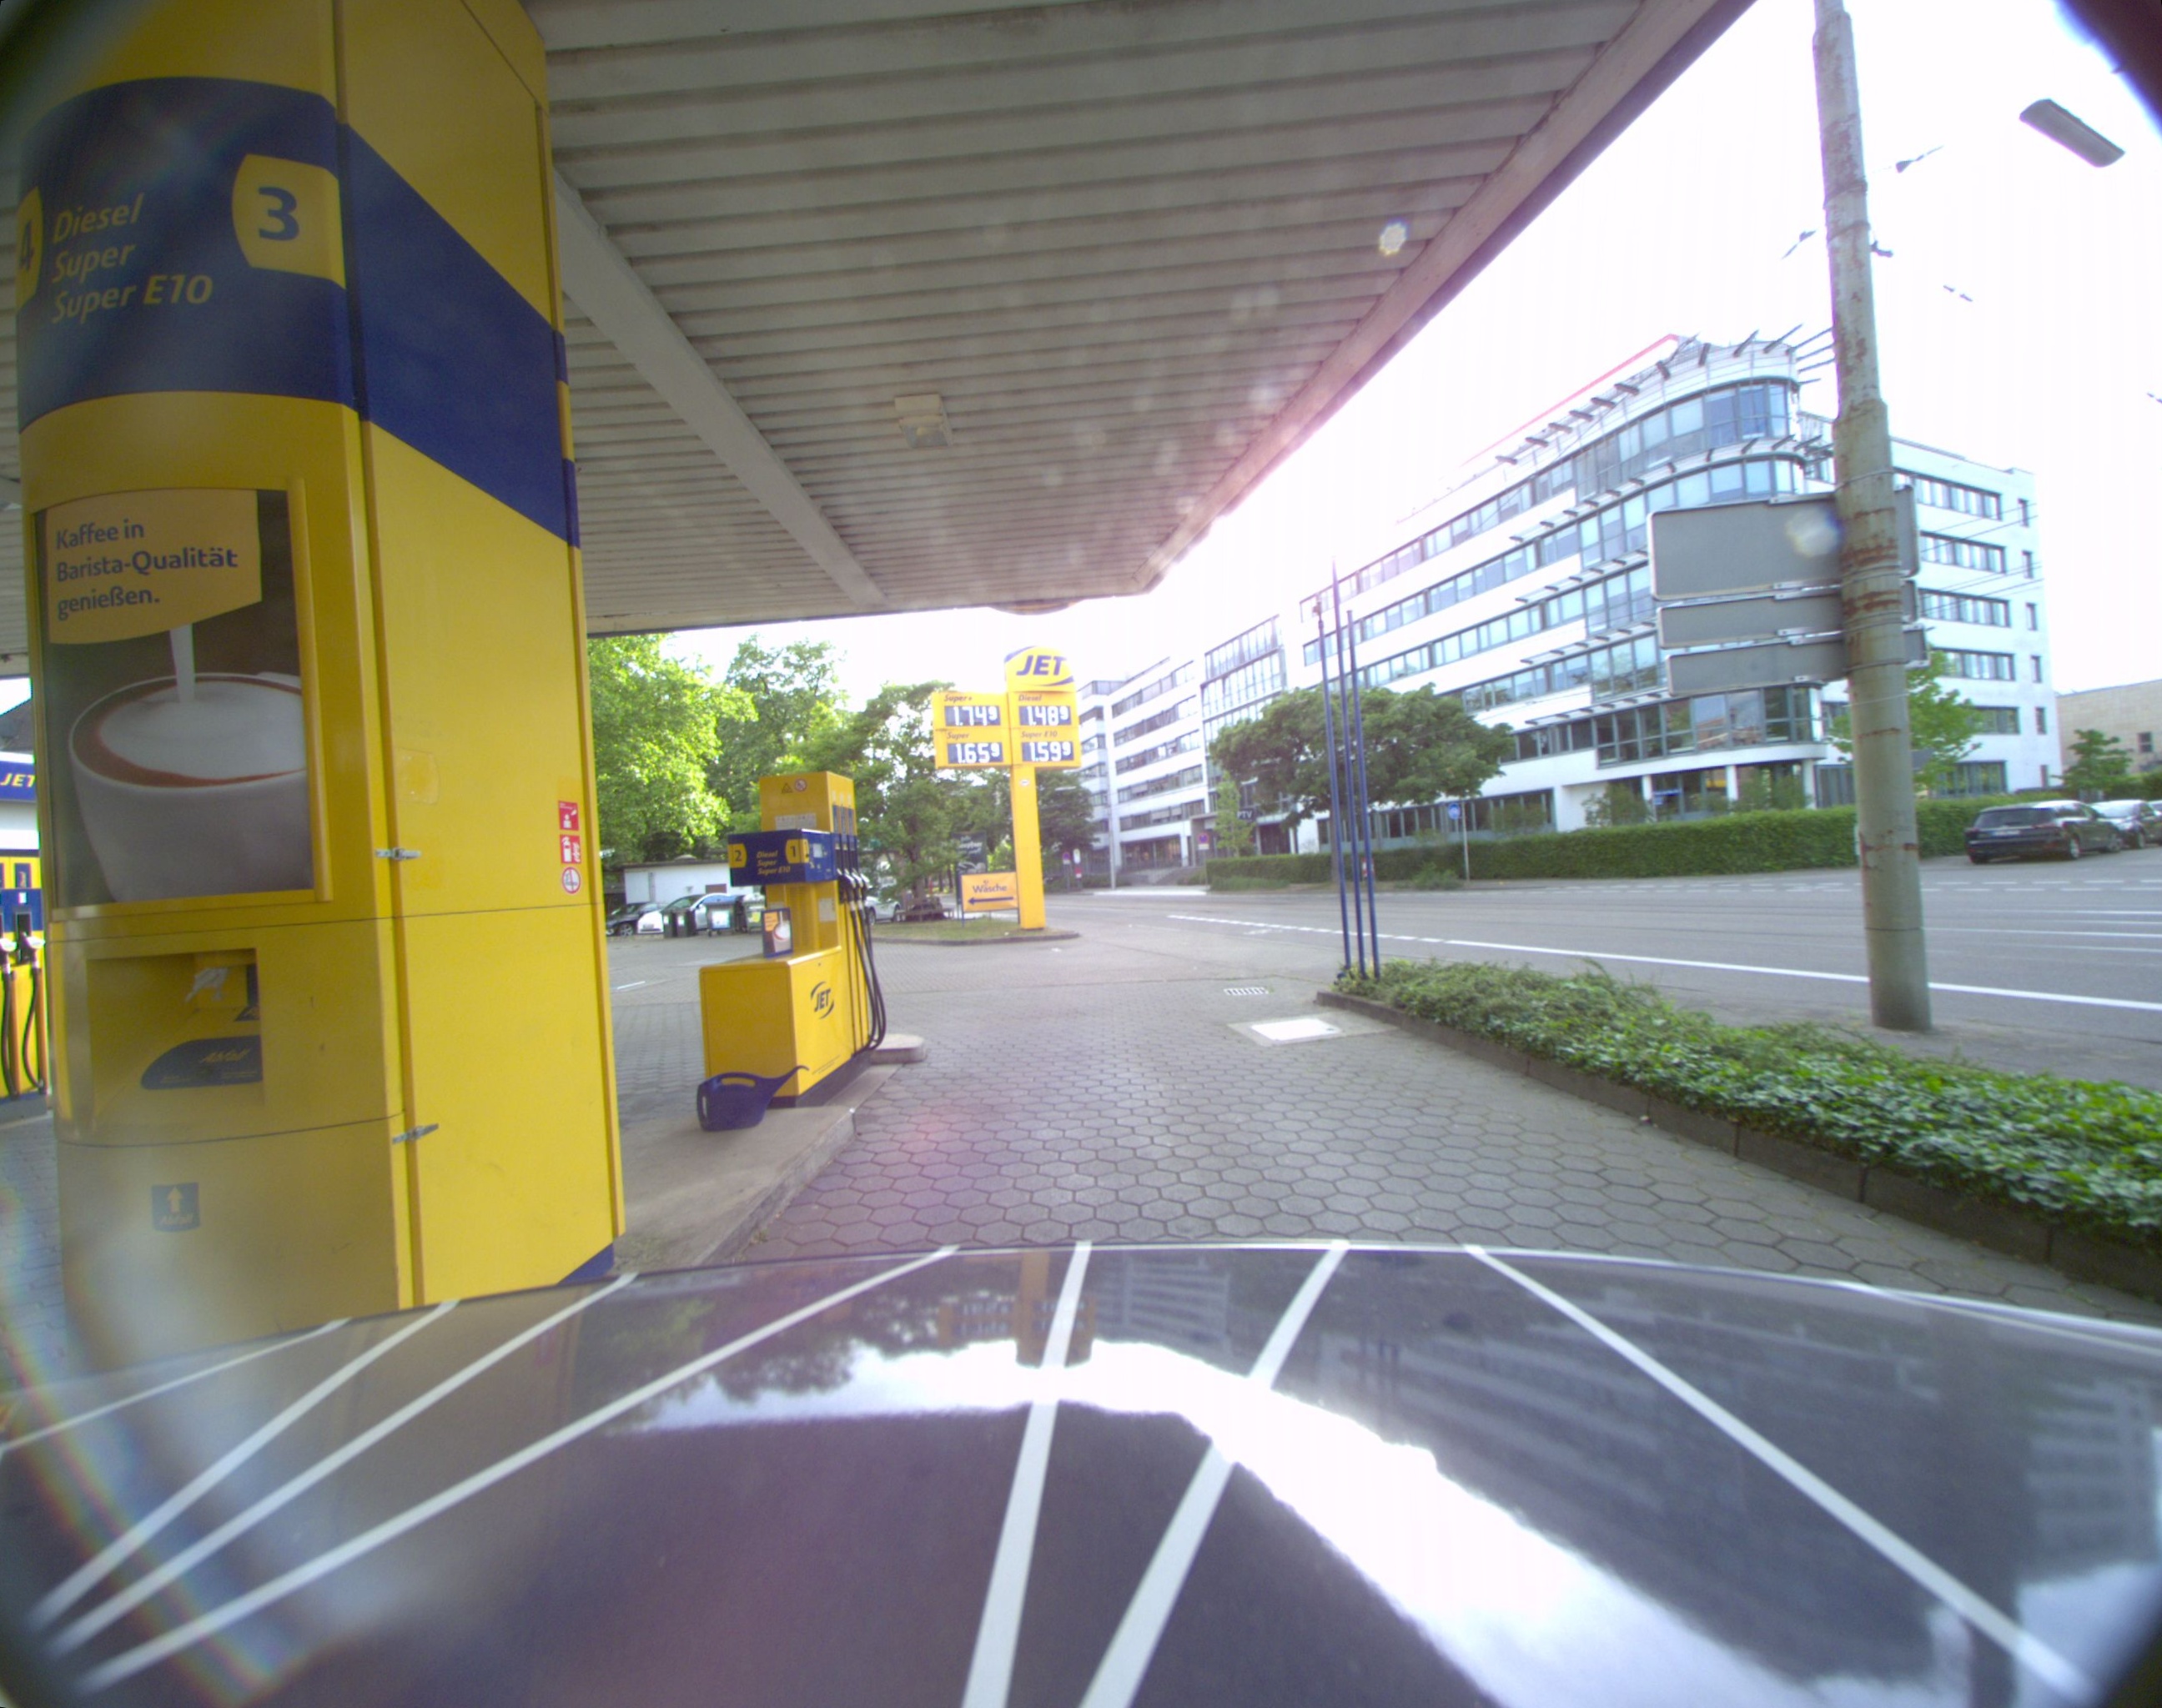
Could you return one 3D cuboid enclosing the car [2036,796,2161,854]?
[{"bbox_3d":[32.540,-0.940,24.092,4.296,1.530,1.945,-4,-1,-27],"label":"car"}]

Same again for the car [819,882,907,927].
[{"bbox_3d":[-8.641,2.003,30.502,1.772,1.591,4.398,-4,-3,6],"label":"car"}]

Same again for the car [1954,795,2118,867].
[{"bbox_3d":[27.269,-0.663,21.690,4.296,1.681,2.010,-4,-1,-27],"label":"car"}]

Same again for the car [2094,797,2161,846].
[{"bbox_3d":[37.123,-1.196,26.144,4.296,1.509,1.945,-4,-1,-27],"label":"car"}]

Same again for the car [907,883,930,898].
[{"bbox_3d":[-17.234,3.866,80.505,1.691,1.424,3.422,-4,-1,-23],"label":"car"}]

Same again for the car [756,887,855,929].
[{"bbox_3d":[-11.659,2.268,32.493,1.771,1.591,4.400,-4,-4,13],"label":"car"}]

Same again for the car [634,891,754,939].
[{"bbox_3d":[-15.297,2.366,30.314,1.771,1.591,4.398,-2,-1,14],"label":"car"}]

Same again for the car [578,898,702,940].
[{"bbox_3d":[-17.799,2.592,30.908,1.771,1.367,4.398,-2,-1,14],"label":"car"}]
